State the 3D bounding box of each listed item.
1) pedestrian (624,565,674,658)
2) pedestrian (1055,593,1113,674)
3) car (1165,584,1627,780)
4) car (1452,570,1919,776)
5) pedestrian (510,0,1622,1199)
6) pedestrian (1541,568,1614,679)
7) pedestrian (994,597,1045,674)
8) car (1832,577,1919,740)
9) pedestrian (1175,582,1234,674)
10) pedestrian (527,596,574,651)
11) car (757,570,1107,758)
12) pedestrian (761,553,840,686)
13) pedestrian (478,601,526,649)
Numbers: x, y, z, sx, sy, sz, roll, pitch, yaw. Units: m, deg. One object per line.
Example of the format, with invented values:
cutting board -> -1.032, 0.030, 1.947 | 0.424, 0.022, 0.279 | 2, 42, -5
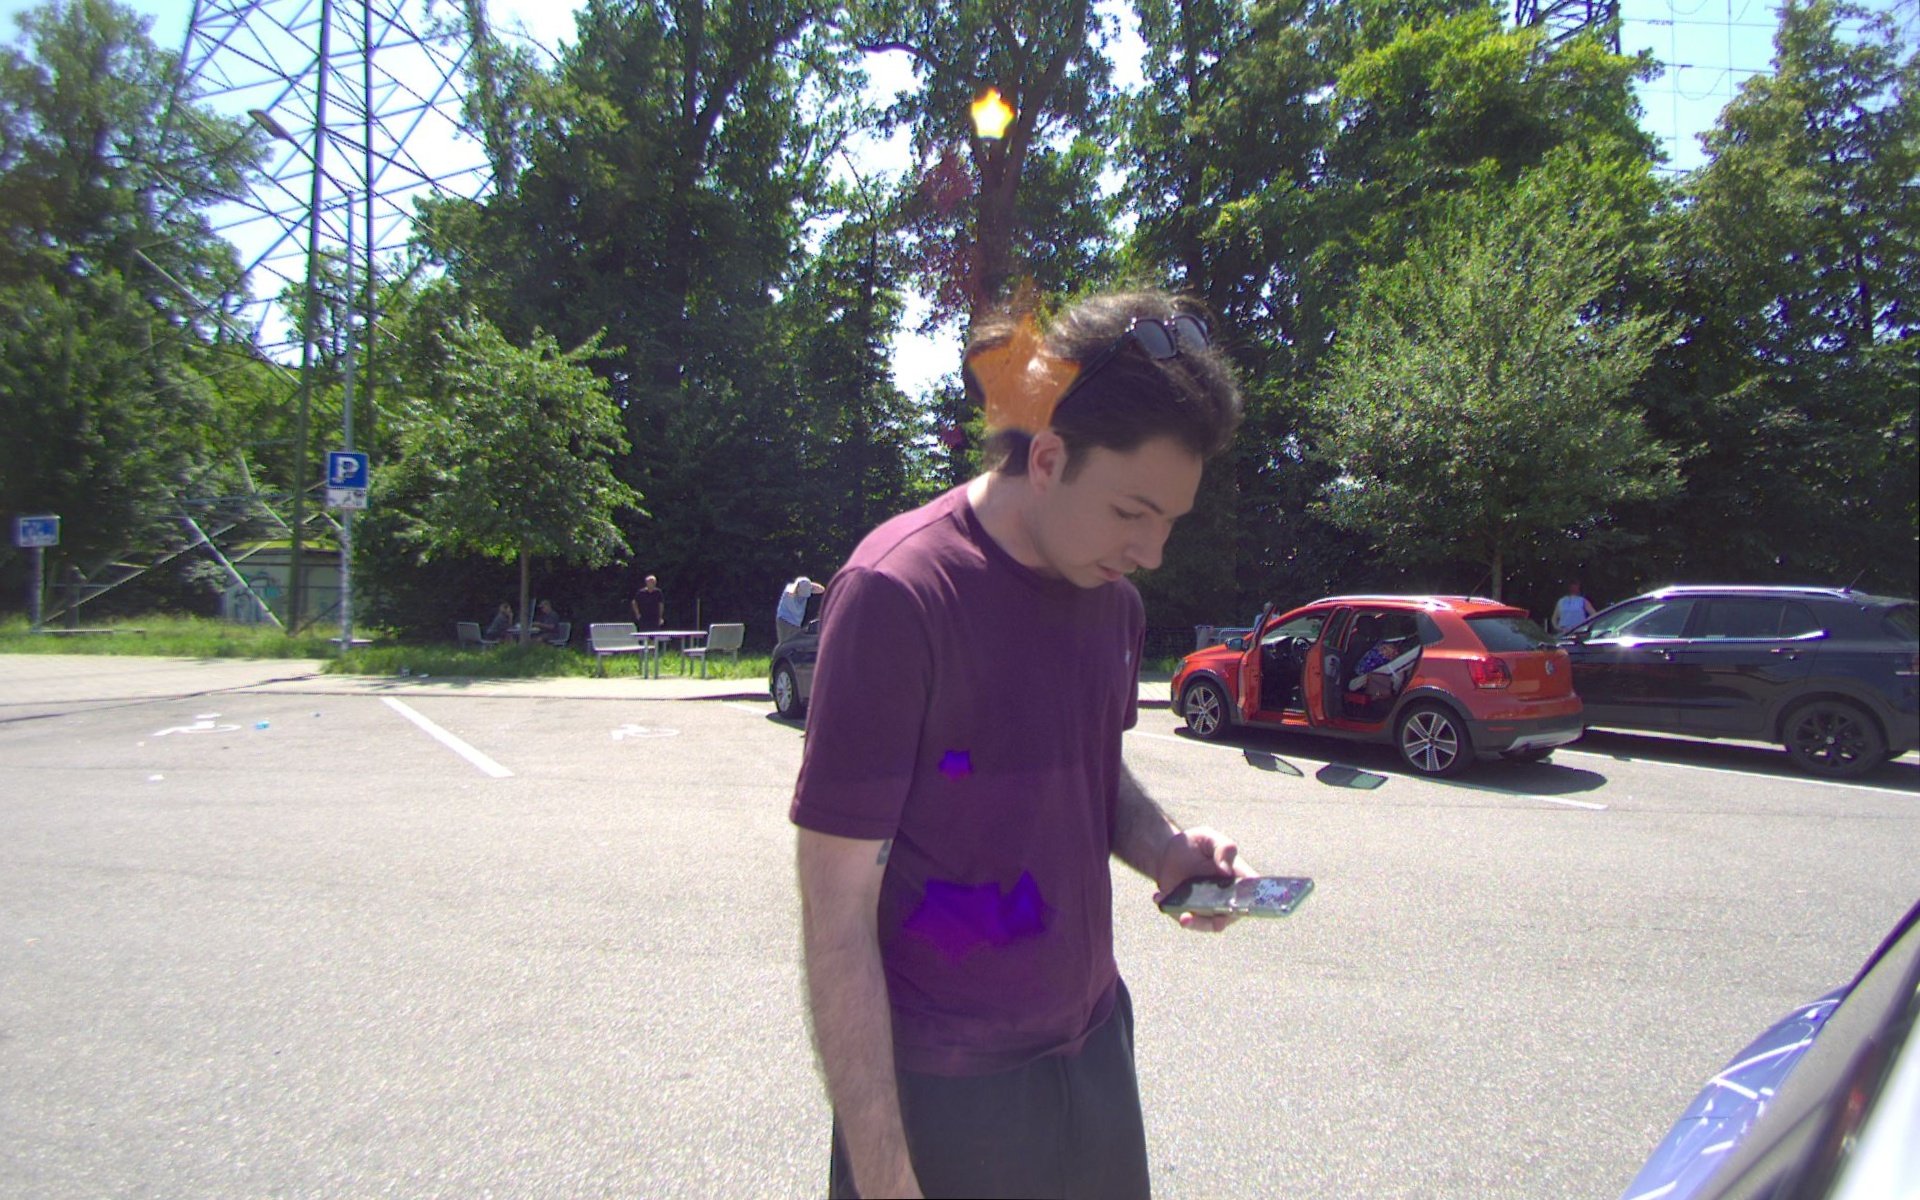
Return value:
pedestrian -> -6.384, 0.229, 20.770 | 0.702, 1.851, 0.904 | 1, -1, -37
pedestrian -> 2.058, 0.550, 16.898 | 0.656, 1.311, 0.832 | 1, -1, -17
car -> 3.917, 0.615, 9.656 | 1.746, 1.475, 3.710 | 1, 0, -33
car -> 7.198, 0.570, 9.843 | 1.807, 1.612, 3.967 | 1, 0, -38
pedestrian -> 0.137, 0.450, 1.116 | 0.828, 1.797, 0.926 | 0, -1, 45
pedestrian -> 9.325, 0.344, 15.288 | 0.795, 1.614, 0.715 | 1, -1, -38
pedestrian -> 1.009, 0.592, 17.267 | 0.656, 1.285, 0.655 | 1, -1, -17
car -> 10.920, 0.595, 9.391 | 1.745, 1.612, 3.972 | 1, 0, -32
pedestrian -> 4.372, 0.493, 18.111 | 0.793, 1.614, 0.776 | 1, -1, -6
pedestrian -> -9.563, 0.533, 23.629 | 0.796, 1.253, 0.713 | 1, -1, -44
car -> -0.493, 0.537, 10.705 | 1.809, 1.588, 4.017 | 1, 0, -35
pedestrian -> -2.239, 0.259, 14.166 | 0.786, 1.784, 0.809 | 1, -1, -39
pedestrian -> -10.340, 0.554, 22.855 | 0.796, 1.062, 0.714 | 1, -1, -43
